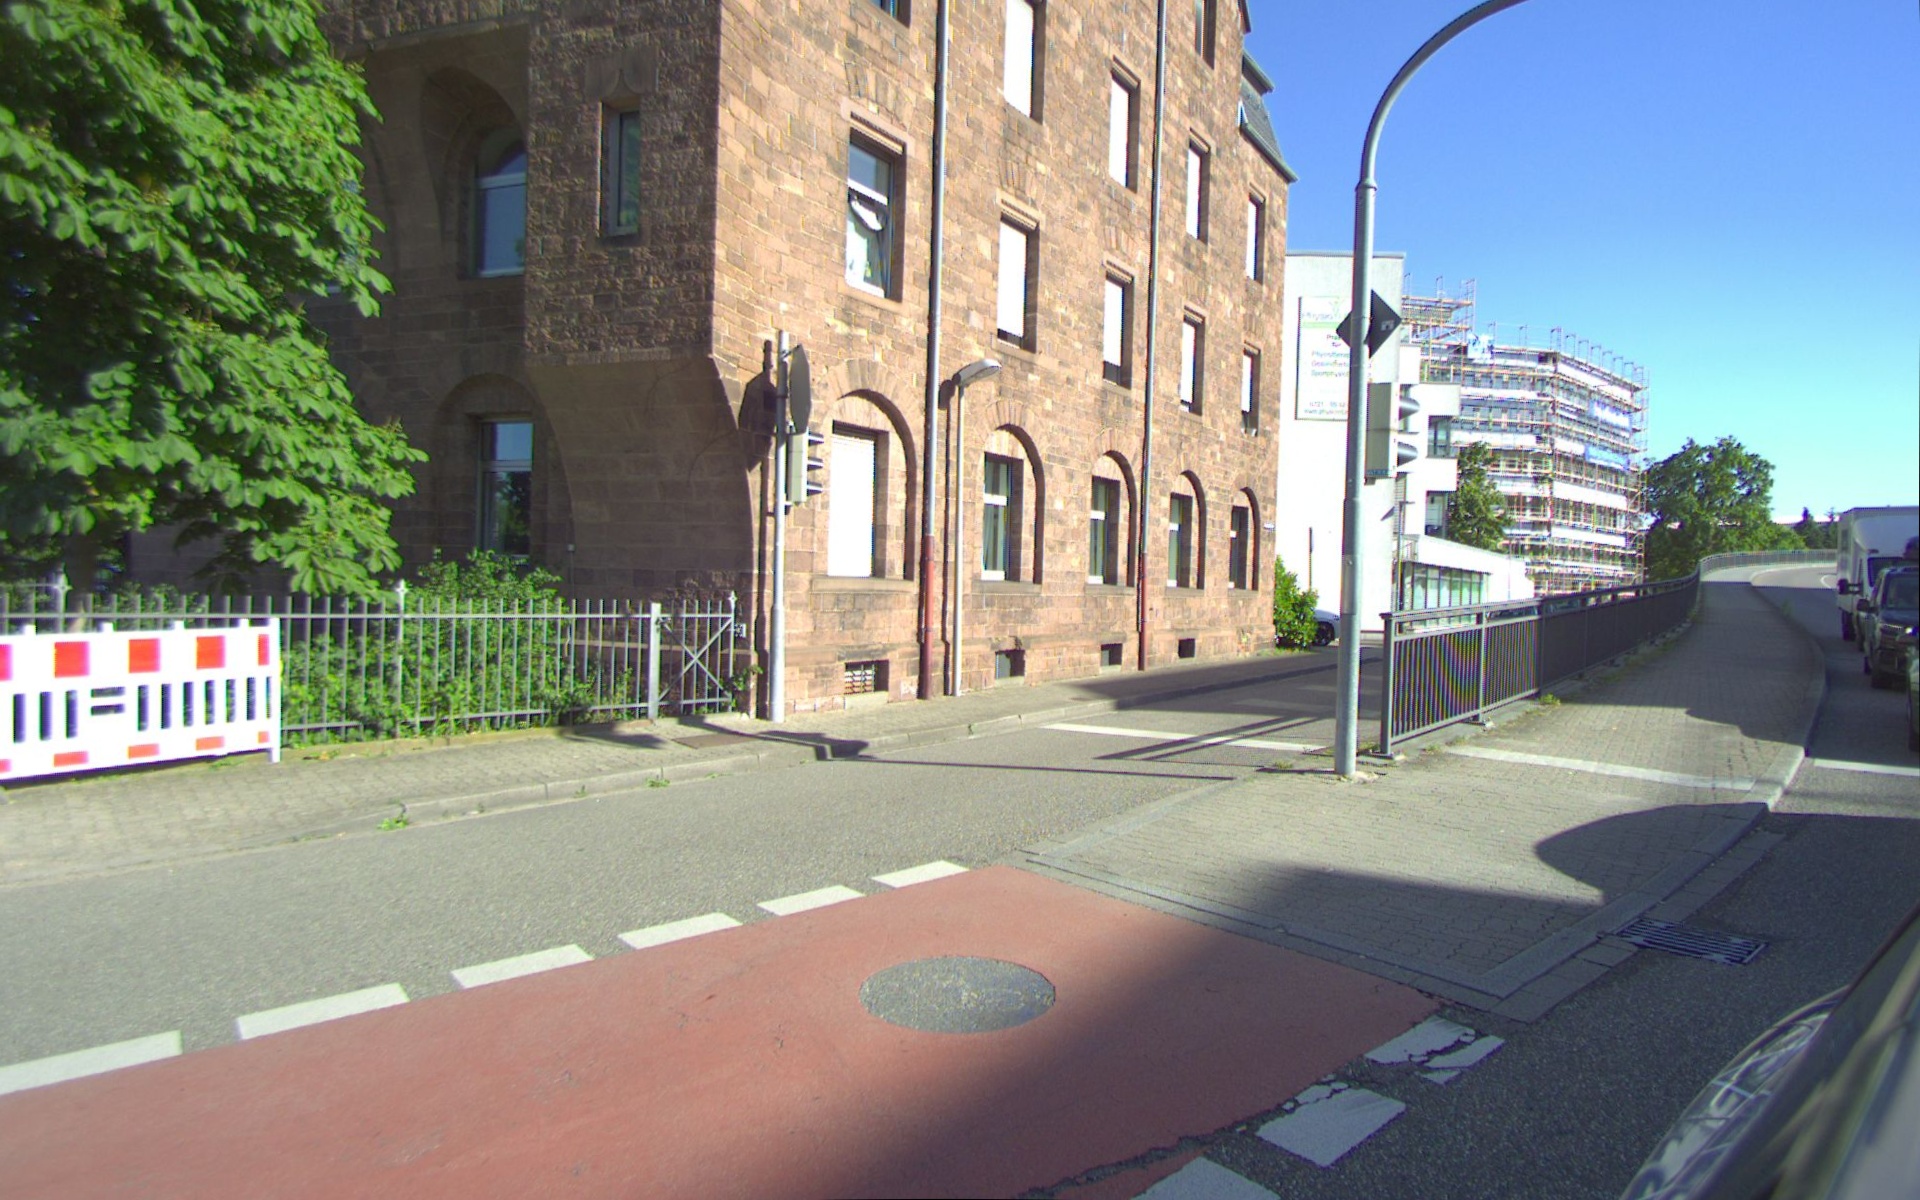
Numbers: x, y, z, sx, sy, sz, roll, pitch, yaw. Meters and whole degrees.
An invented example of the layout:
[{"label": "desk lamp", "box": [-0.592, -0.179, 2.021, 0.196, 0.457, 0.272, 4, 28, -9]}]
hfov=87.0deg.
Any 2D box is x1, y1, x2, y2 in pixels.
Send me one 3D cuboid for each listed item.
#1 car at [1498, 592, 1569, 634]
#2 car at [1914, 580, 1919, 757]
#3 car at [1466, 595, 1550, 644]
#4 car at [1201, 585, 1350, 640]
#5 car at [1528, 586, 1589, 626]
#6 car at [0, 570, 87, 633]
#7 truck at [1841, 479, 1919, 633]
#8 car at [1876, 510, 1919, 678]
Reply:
[{"label": "car", "box": [23.016, 0.507, 40.581, 2.042, 1.551, 4.039, 2, 1, 36]}, {"label": "car", "box": [10.360, 0.524, 9.490, 4.561, 1.488, 1.876, -3, 4, -45]}, {"label": "car", "box": [19.309, 0.647, 35.564, 2.042, 1.551, 4.038, 2, 1, 36]}, {"label": "car", "box": [9.748, 0.369, 31.536, 4.019, 1.551, 1.918, 1, 0, 4]}, {"label": "car", "box": [27.617, 0.255, 46.667, 2.042, 1.707, 4.039, 2, 0, 36]}, {"label": "car", "box": [-25.302, 0.023, 26.439, 3.717, 1.581, 1.996, 1, 1, -43]}, {"label": "truck", "box": [22.159, -0.882, 23.398, 2.493, 3.167, 6.858, 2, 1, 40]}, {"label": "car", "box": [15.111, -0.050, 15.163, 1.944, 2.290, 4.712, 2, 1, 42]}]
